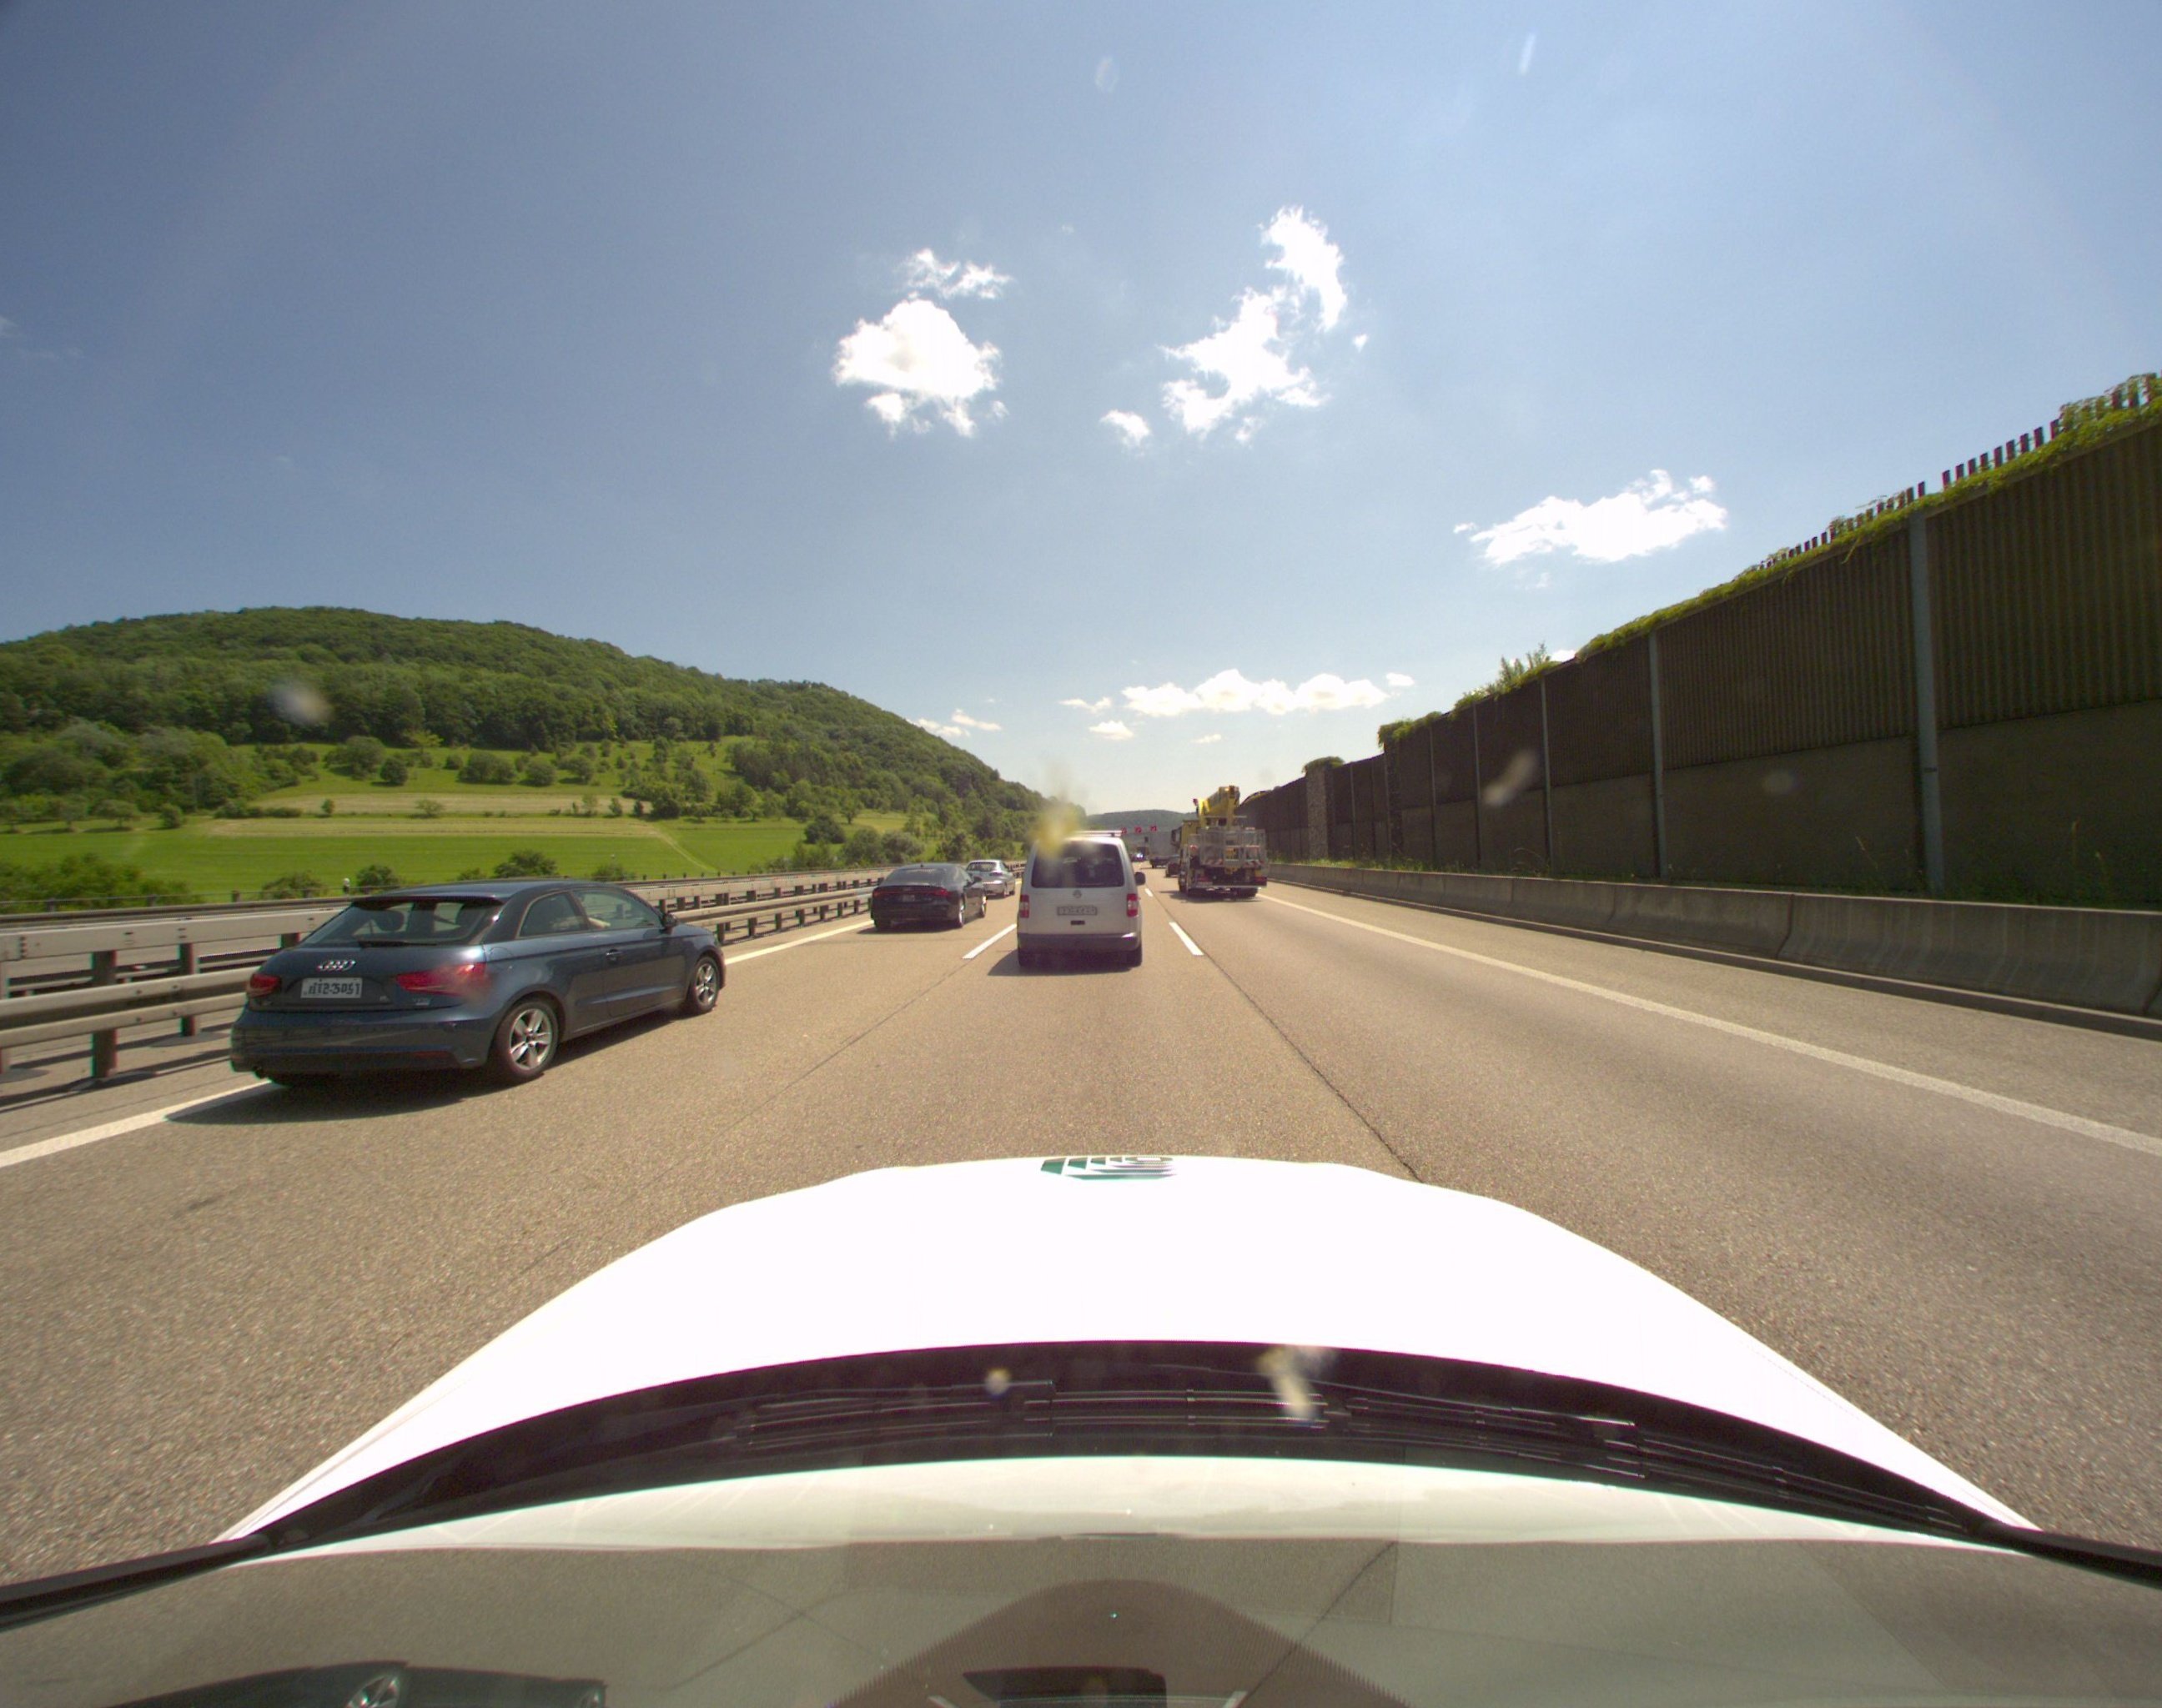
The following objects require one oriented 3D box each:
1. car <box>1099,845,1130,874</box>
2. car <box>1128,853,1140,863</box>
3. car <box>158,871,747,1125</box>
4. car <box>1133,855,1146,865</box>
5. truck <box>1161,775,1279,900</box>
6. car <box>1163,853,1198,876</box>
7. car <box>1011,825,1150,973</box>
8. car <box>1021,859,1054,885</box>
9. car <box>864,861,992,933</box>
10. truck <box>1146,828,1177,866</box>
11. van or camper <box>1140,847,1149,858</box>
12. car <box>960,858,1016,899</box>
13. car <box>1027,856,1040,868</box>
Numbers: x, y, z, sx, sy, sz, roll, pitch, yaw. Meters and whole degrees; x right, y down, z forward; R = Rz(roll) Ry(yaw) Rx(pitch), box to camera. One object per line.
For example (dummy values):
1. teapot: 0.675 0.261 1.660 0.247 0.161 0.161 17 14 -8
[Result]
1. car: 2.396 0.390 59.701 1.988 1.975 3.998 -1 0 -1
2. car: 9.355 0.654 144.355 1.986 1.749 4.001 -1 -1 2
3. car: -4.536 0.894 6.805 1.682 1.388 4.002 -1 0 2
4. car: 11.188 1.154 156.971 2.108 1.828 3.997 0 -1 -1
5. truck: 4.870 -0.521 30.366 2.696 3.942 8.717 -1 0 -1
6. car: 6.533 0.673 53.948 1.781 1.458 3.769 -1 0 -1
7. car: -0.040 0.589 12.550 1.751 1.868 3.998 -1 0 -1
8. car: -2.658 1.082 50.346 1.919 1.499 3.998 -1 0 -1
9. car: -3.370 0.890 18.971 1.793 1.390 4.972 -1 0 2
10. truck: 8.493 -0.626 86.814 2.928 3.823 8.242 -1 -1 3
11. van or camper: 16.164 -0.363 208.768 1.986 2.954 5.424 0 -1 2
12. car: -3.464 0.884 30.968 1.691 1.445 3.860 -1 0 -1
13. car: -8.879 1.492 152.036 1.986 2.013 4.001 -1 0 2
